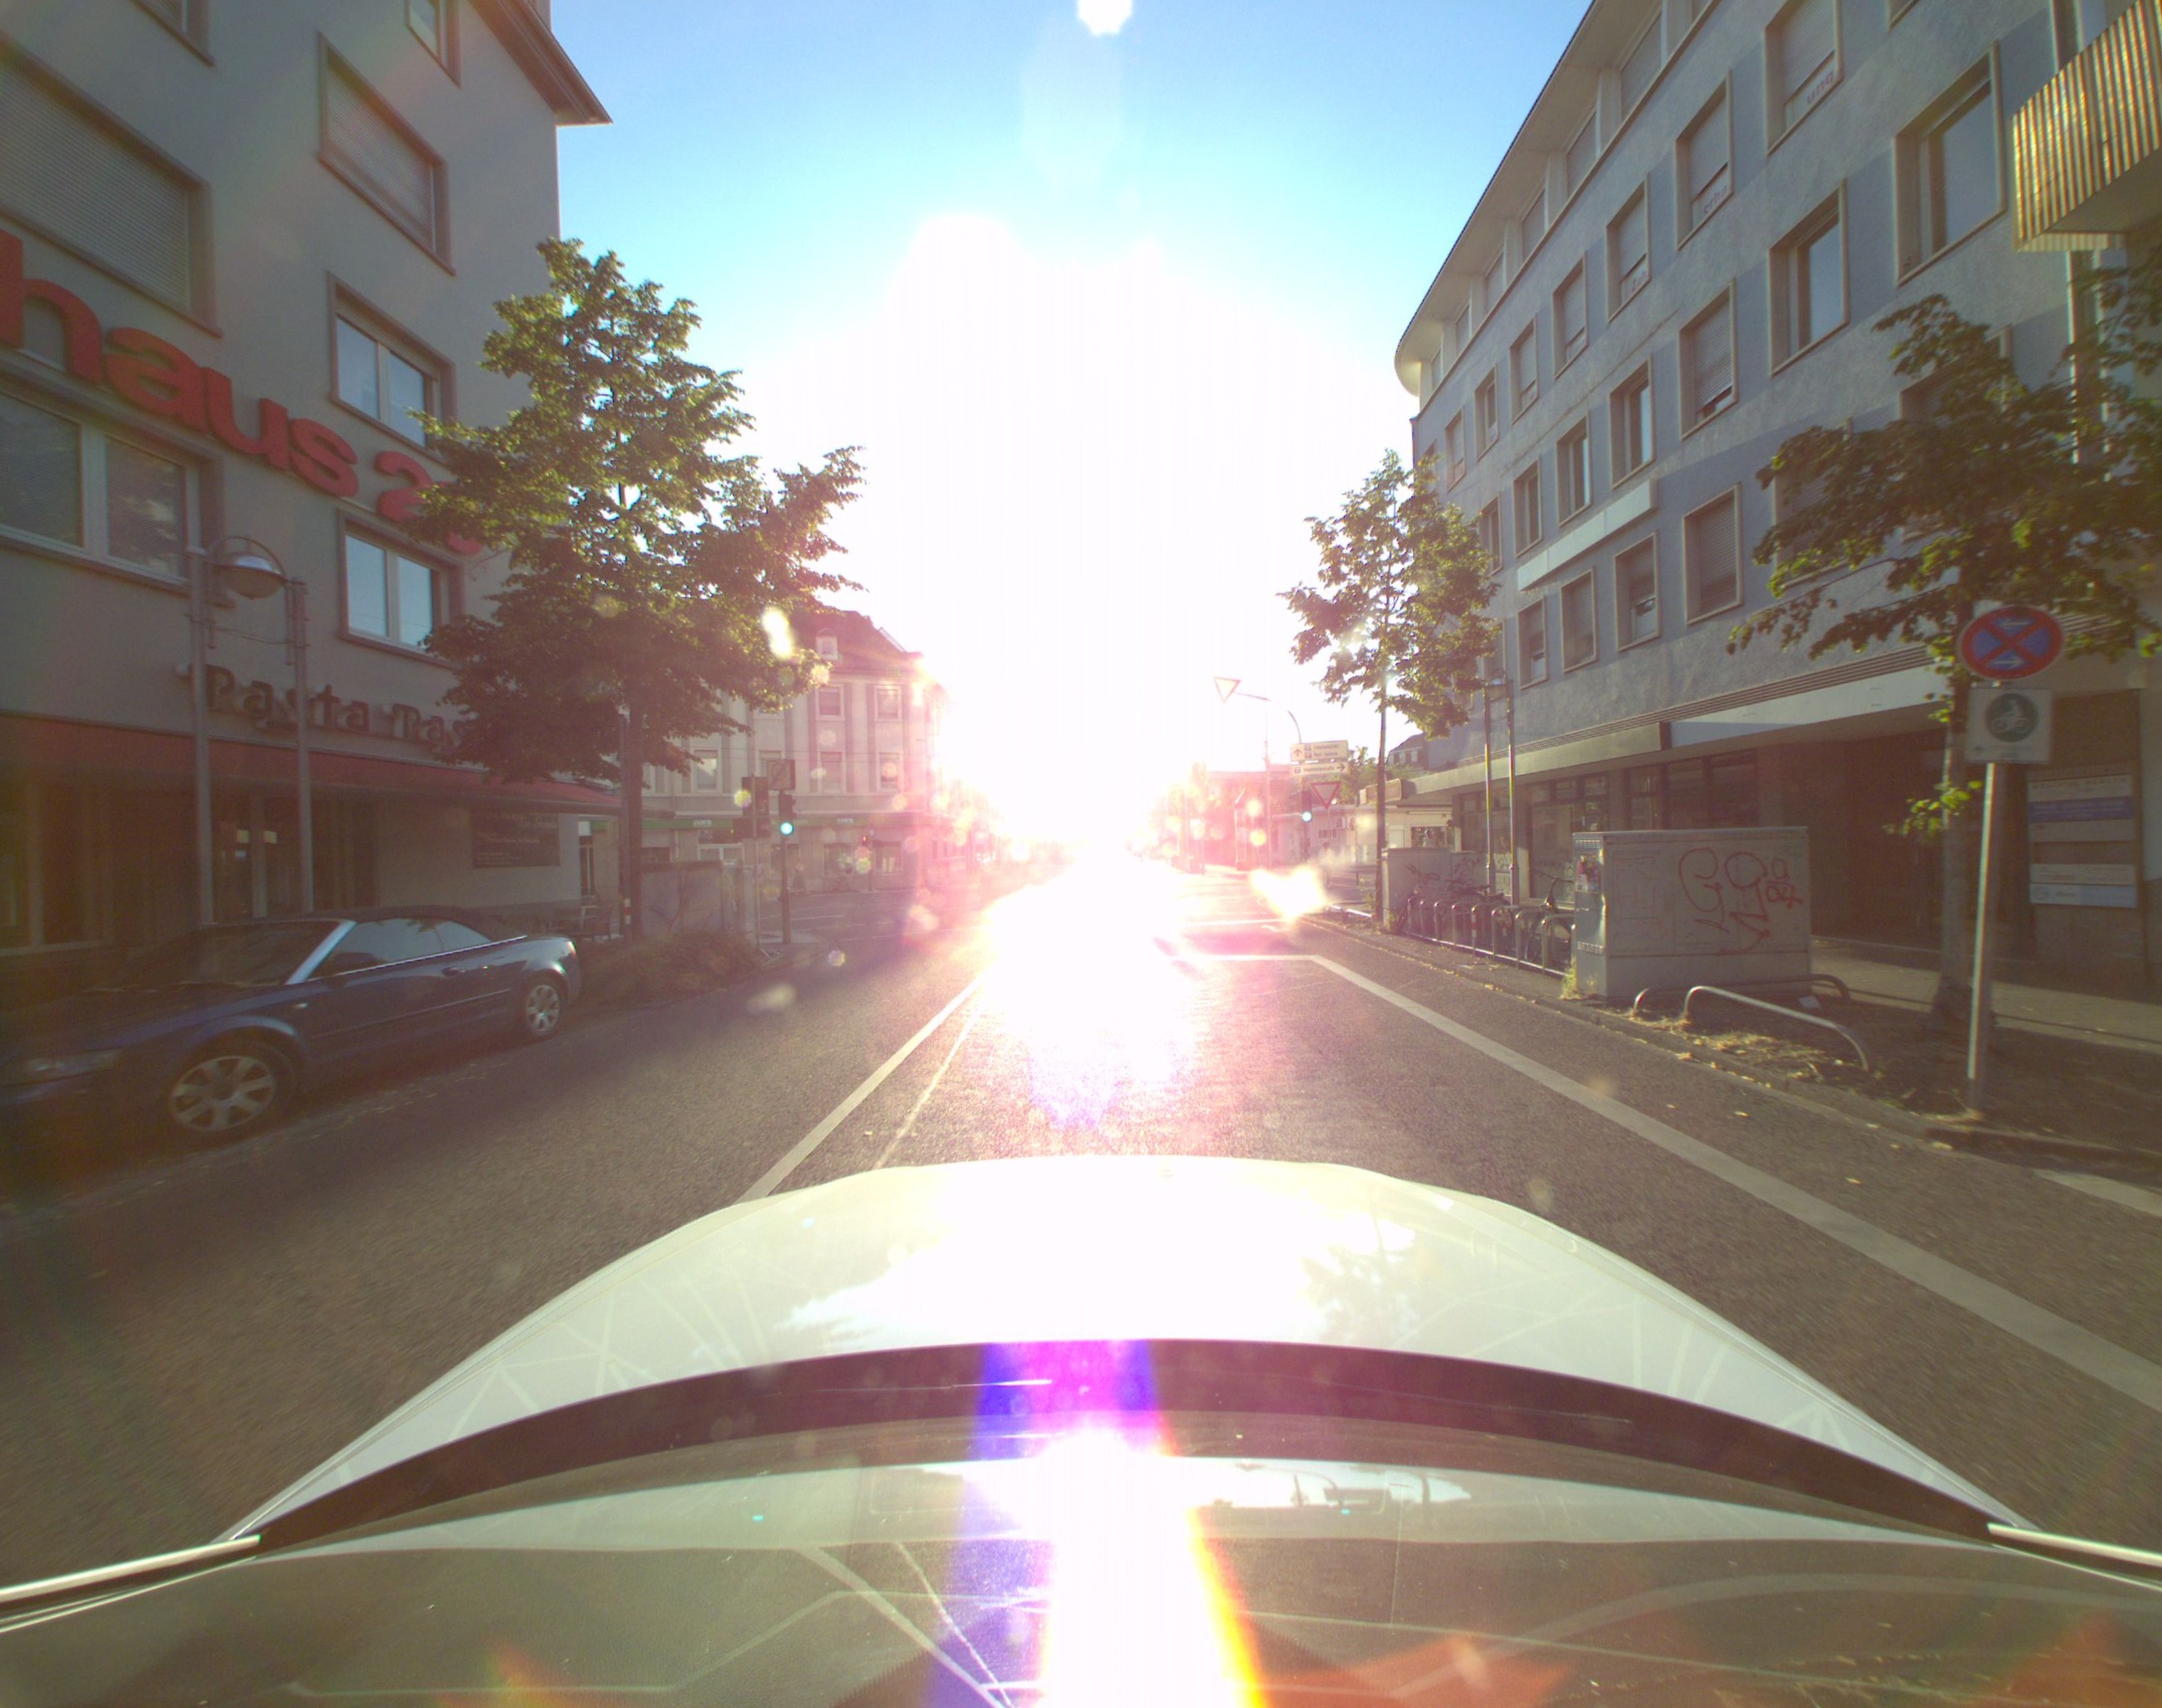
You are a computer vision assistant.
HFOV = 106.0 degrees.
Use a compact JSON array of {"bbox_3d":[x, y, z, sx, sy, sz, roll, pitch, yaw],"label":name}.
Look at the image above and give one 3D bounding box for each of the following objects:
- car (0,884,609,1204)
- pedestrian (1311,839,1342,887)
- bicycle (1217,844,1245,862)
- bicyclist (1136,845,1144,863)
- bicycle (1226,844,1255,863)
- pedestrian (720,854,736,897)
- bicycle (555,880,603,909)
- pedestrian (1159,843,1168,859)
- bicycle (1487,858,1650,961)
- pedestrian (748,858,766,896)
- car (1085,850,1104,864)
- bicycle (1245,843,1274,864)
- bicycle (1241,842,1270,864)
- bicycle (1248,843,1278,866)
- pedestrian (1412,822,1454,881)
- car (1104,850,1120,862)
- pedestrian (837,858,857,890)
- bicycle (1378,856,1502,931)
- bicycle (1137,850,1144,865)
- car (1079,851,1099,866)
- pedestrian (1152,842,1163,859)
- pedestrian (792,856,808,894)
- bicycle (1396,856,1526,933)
[{"bbox_3d":[-5.956,1.070,6.276,1.908,1.386,4.384,-3,0,2],"label":"car"},{"bbox_3d":[9.268,0.327,30.725,0.796,1.726,1.000,-4,-1,30],"label":"pedestrian"},{"bbox_3d":[12.814,-0.088,69.581,2.210,1.522,0.682,-2,0,7],"label":"bicycle"},{"bbox_3d":[5.669,-0.026,77.836,0.676,1.707,0.670,-2,0,4],"label":"bicyclist"},{"bbox_3d":[13.021,-0.037,66.427,2.213,1.522,0.681,-2,0,3],"label":"bicycle"},{"bbox_3d":[-16.081,0.959,37.082,0.498,1.928,0.570,-2,0,-33],"label":"pedestrian"},{"bbox_3d":[-21.107,1.690,34.269,1.651,1.089,0.475,-3,2,-25],"label":"bicycle"},{"bbox_3d":[9.560,-0.377,94.130,0.798,1.786,0.998,-4,-1,16],"label":"pedestrian"},{"bbox_3d":[6.203,0.685,10.373,1.912,1.203,0.468,-2,0,-9],"label":"bicycle"},{"bbox_3d":[-14.911,1.048,37.458,0.699,1.745,0.636,-2,0,-20],"label":"pedestrian"},{"bbox_3d":[1.800,0.409,107.750,2.294,1.678,5.536,-2,0,2],"label":"car"},{"bbox_3d":[12.985,-0.038,59.320,1.977,1.522,0.479,-2,0,3],"label":"bicycle"},{"bbox_3d":[12.941,-0.054,60.360,1.977,1.522,0.479,-2,0,3],"label":"bicycle"},{"bbox_3d":[12.710,0.009,56.913,1.978,1.522,0.479,-2,0,2],"label":"bicycle"},{"bbox_3d":[11.723,-0.084,27.122,0.999,1.886,0.797,-3,-1,-39],"label":"pedestrian"},{"bbox_3d":[4.656,0.237,122.197,2.294,1.678,5.536,-2,0,2],"label":"car"},{"bbox_3d":[-11.618,0.978,40.388,0.870,1.548,0.695,-2,0,-20],"label":"pedestrian"},{"bbox_3d":[6.204,0.676,14.125,1.904,1.203,0.470,-2,0,3],"label":"bicycle"},{"bbox_3d":[5.693,0.337,77.864,0.675,1.402,2.232,-2,0,4],"label":"bicycle"},{"bbox_3d":[1.008,0.508,100.175,2.294,1.678,5.536,-2,0,2],"label":"car"},{"bbox_3d":[9.025,-0.405,96.033,0.981,1.957,0.811,-3,0,29],"label":"pedestrian"},{"bbox_3d":[-13.175,0.973,38.175,0.647,1.778,0.667,-2,0,-20],"label":"pedestrian"},{"bbox_3d":[6.331,0.666,13.626,1.904,1.203,0.470,-2,0,3],"label":"bicycle"}]
